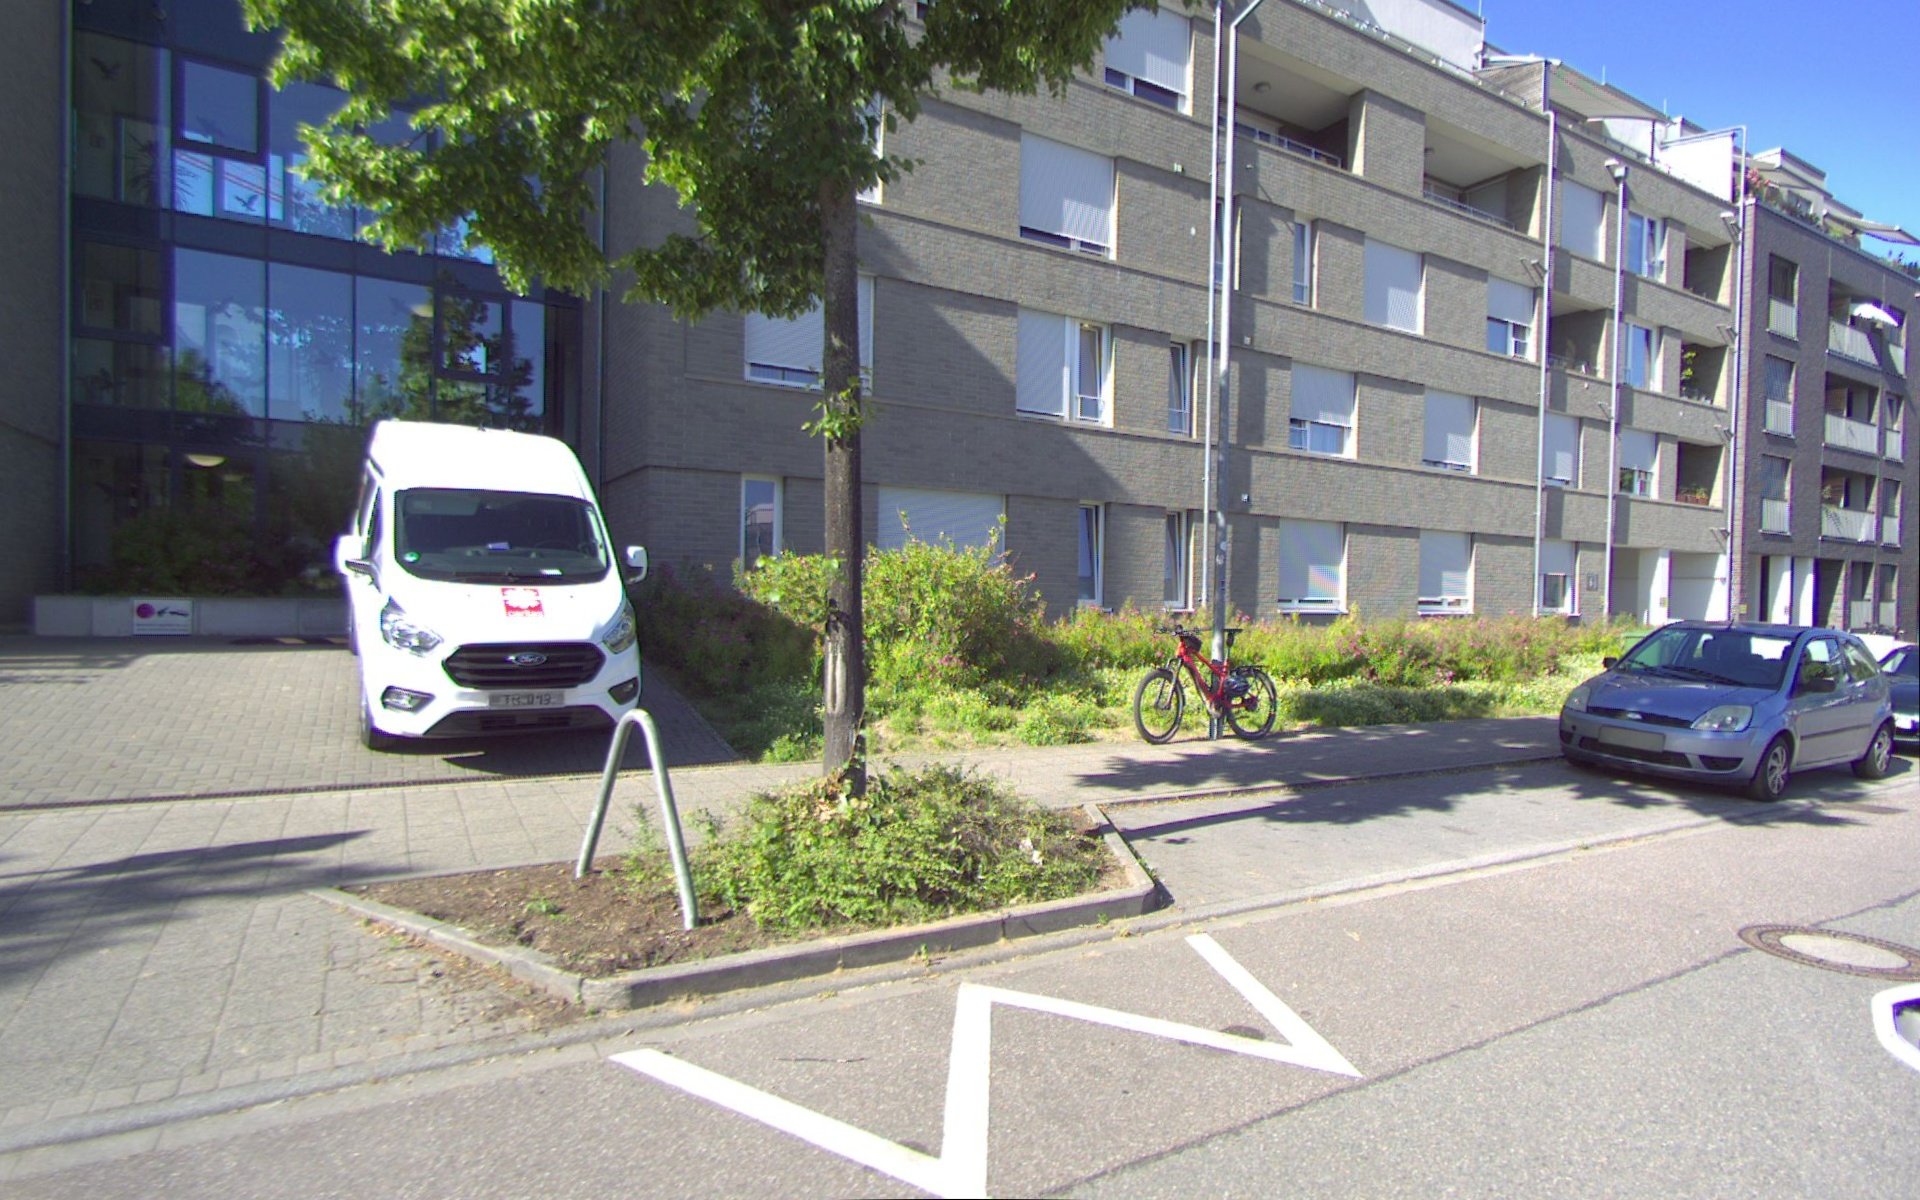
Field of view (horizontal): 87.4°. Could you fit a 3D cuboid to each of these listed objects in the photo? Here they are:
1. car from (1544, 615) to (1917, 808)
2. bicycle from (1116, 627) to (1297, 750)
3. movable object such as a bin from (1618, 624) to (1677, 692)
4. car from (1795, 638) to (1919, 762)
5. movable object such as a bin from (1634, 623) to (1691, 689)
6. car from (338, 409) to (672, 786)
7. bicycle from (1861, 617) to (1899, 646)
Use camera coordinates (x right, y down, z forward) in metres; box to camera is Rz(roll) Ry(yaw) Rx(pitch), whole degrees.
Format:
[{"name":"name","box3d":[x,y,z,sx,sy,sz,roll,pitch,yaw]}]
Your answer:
[{"name":"car","box3d":[7.462,0.927,9.646,3.831,1.484,1.602,1,0,-32]},{"name":"bicycle","box3d":[2.460,0.849,9.932,1.957,1.139,0.282,1,1,-24]},{"name":"movable object such as a bin","box3d":[11.719,0.971,17.123,0.629,1.105,0.604,0,1,-32]},{"name":"car","box3d":[11.920,1.152,12.107,3.829,1.233,1.591,1,3,-30]},{"name":"movable object such as a bin","box3d":[12.305,0.971,17.592,0.629,1.098,0.604,0,1,-32]},{"name":"car","box3d":[-4.446,-0.398,9.139,1.902,2.415,5.412,1,8,-33]},{"name":"bicycle","box3d":[27.692,0.949,30.227,1.752,0.849,0.252,0,1,-28]}]
